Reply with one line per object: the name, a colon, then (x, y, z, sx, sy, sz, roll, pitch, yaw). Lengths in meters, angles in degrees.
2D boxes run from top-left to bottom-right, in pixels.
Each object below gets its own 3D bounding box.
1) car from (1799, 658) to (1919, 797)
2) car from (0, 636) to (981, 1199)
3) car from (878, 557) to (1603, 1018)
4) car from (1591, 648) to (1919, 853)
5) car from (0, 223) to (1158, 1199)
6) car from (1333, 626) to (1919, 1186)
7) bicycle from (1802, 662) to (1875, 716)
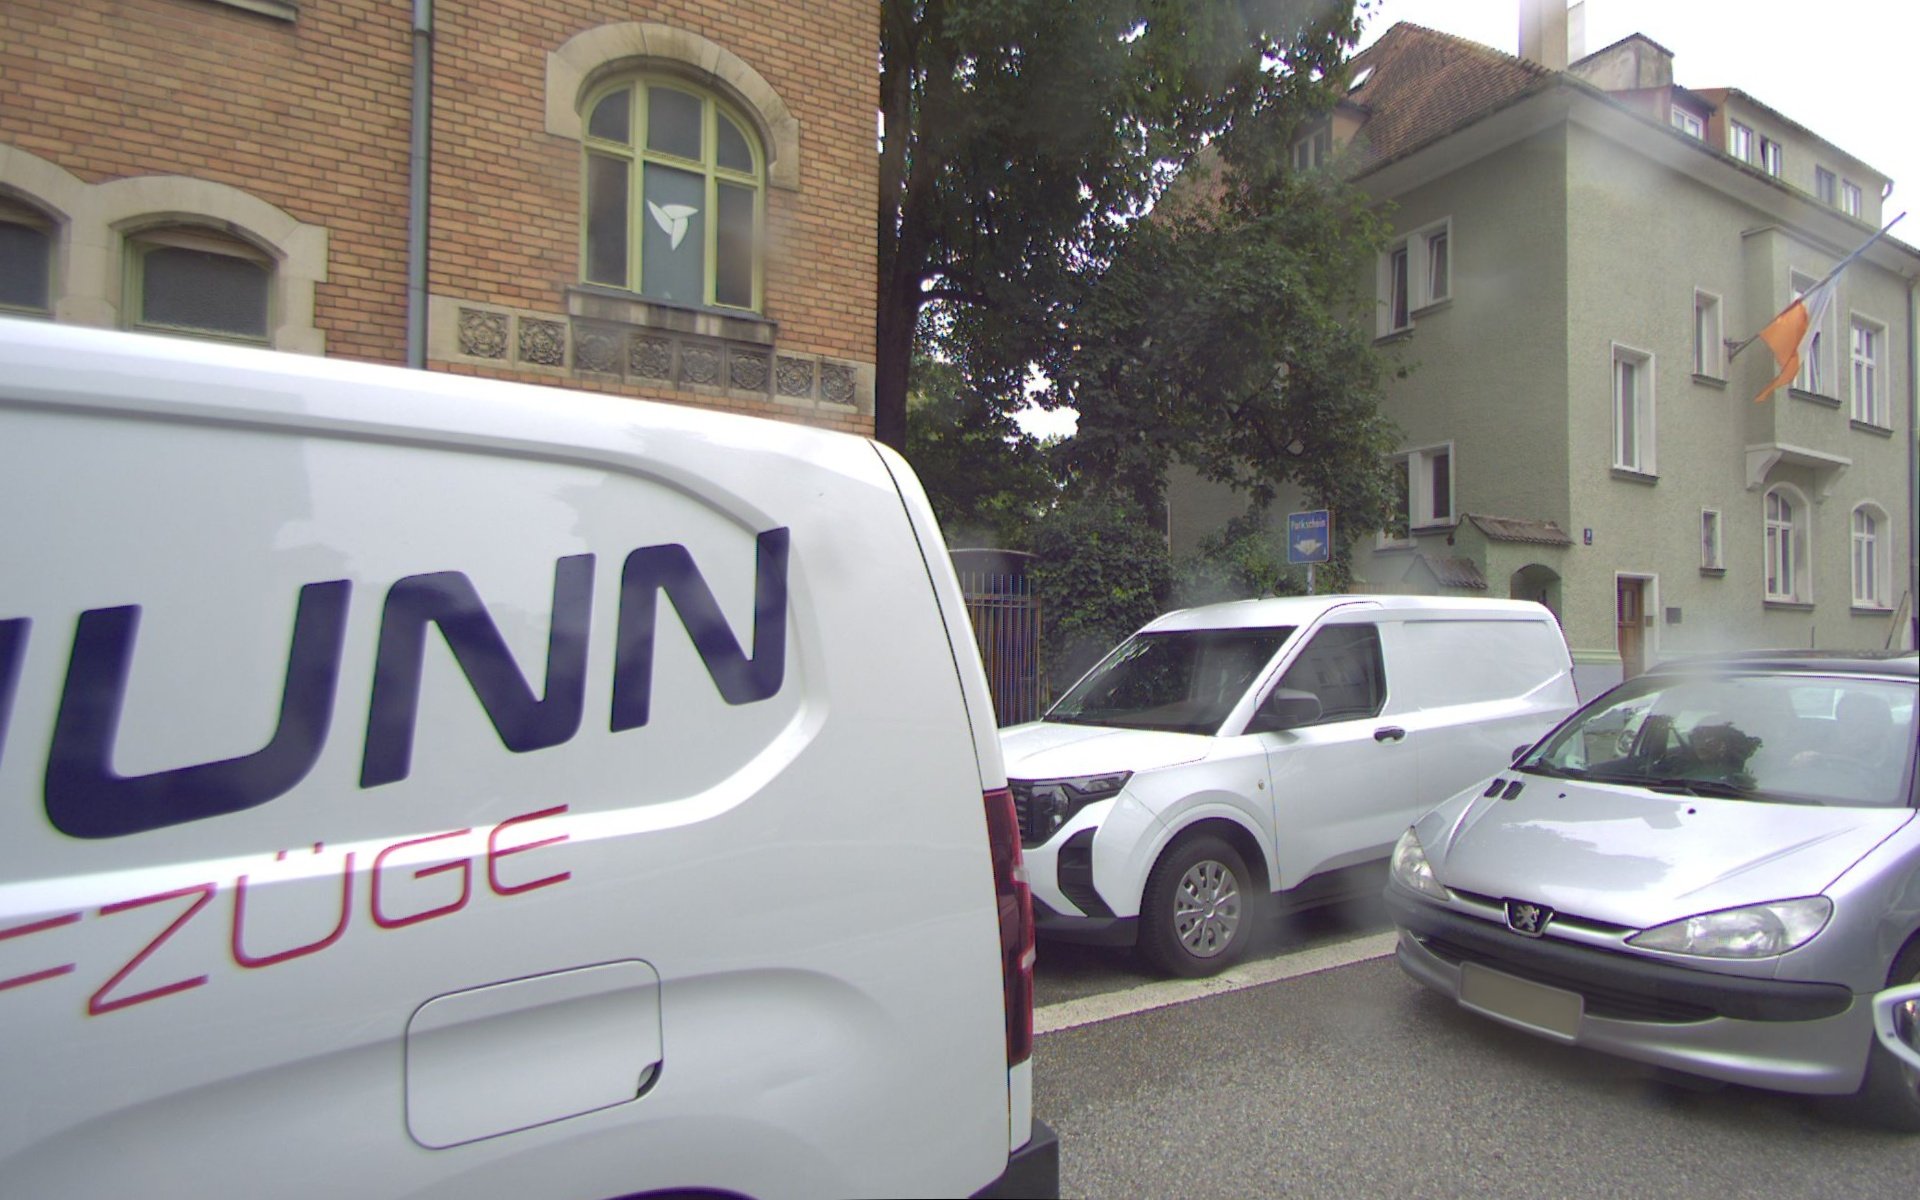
car: (11.678, 1.401, 11.523, 4.285, 1.430, 1.852, 3, -5, -32)
car: (-2.101, 0.890, 3.670, 4.096, 1.461, 1.682, 2, -4, -30)
car: (1.728, 0.837, 5.807, 4.098, 1.827, 1.682, 2, -4, -31)
car: (7.192, 1.180, 8.828, 3.276, 1.485, 1.466, 2, -4, -31)
car: (-2.130, 0.597, 1.120, 4.513, 1.827, 1.765, 2, -2, -27)
car: (3.404, 0.875, 4.162, 3.569, 1.429, 1.574, 2, -3, -29)
bicycle: (16.554, 1.654, 18.913, 1.909, 0.919, 0.519, 2, 1, -34)
